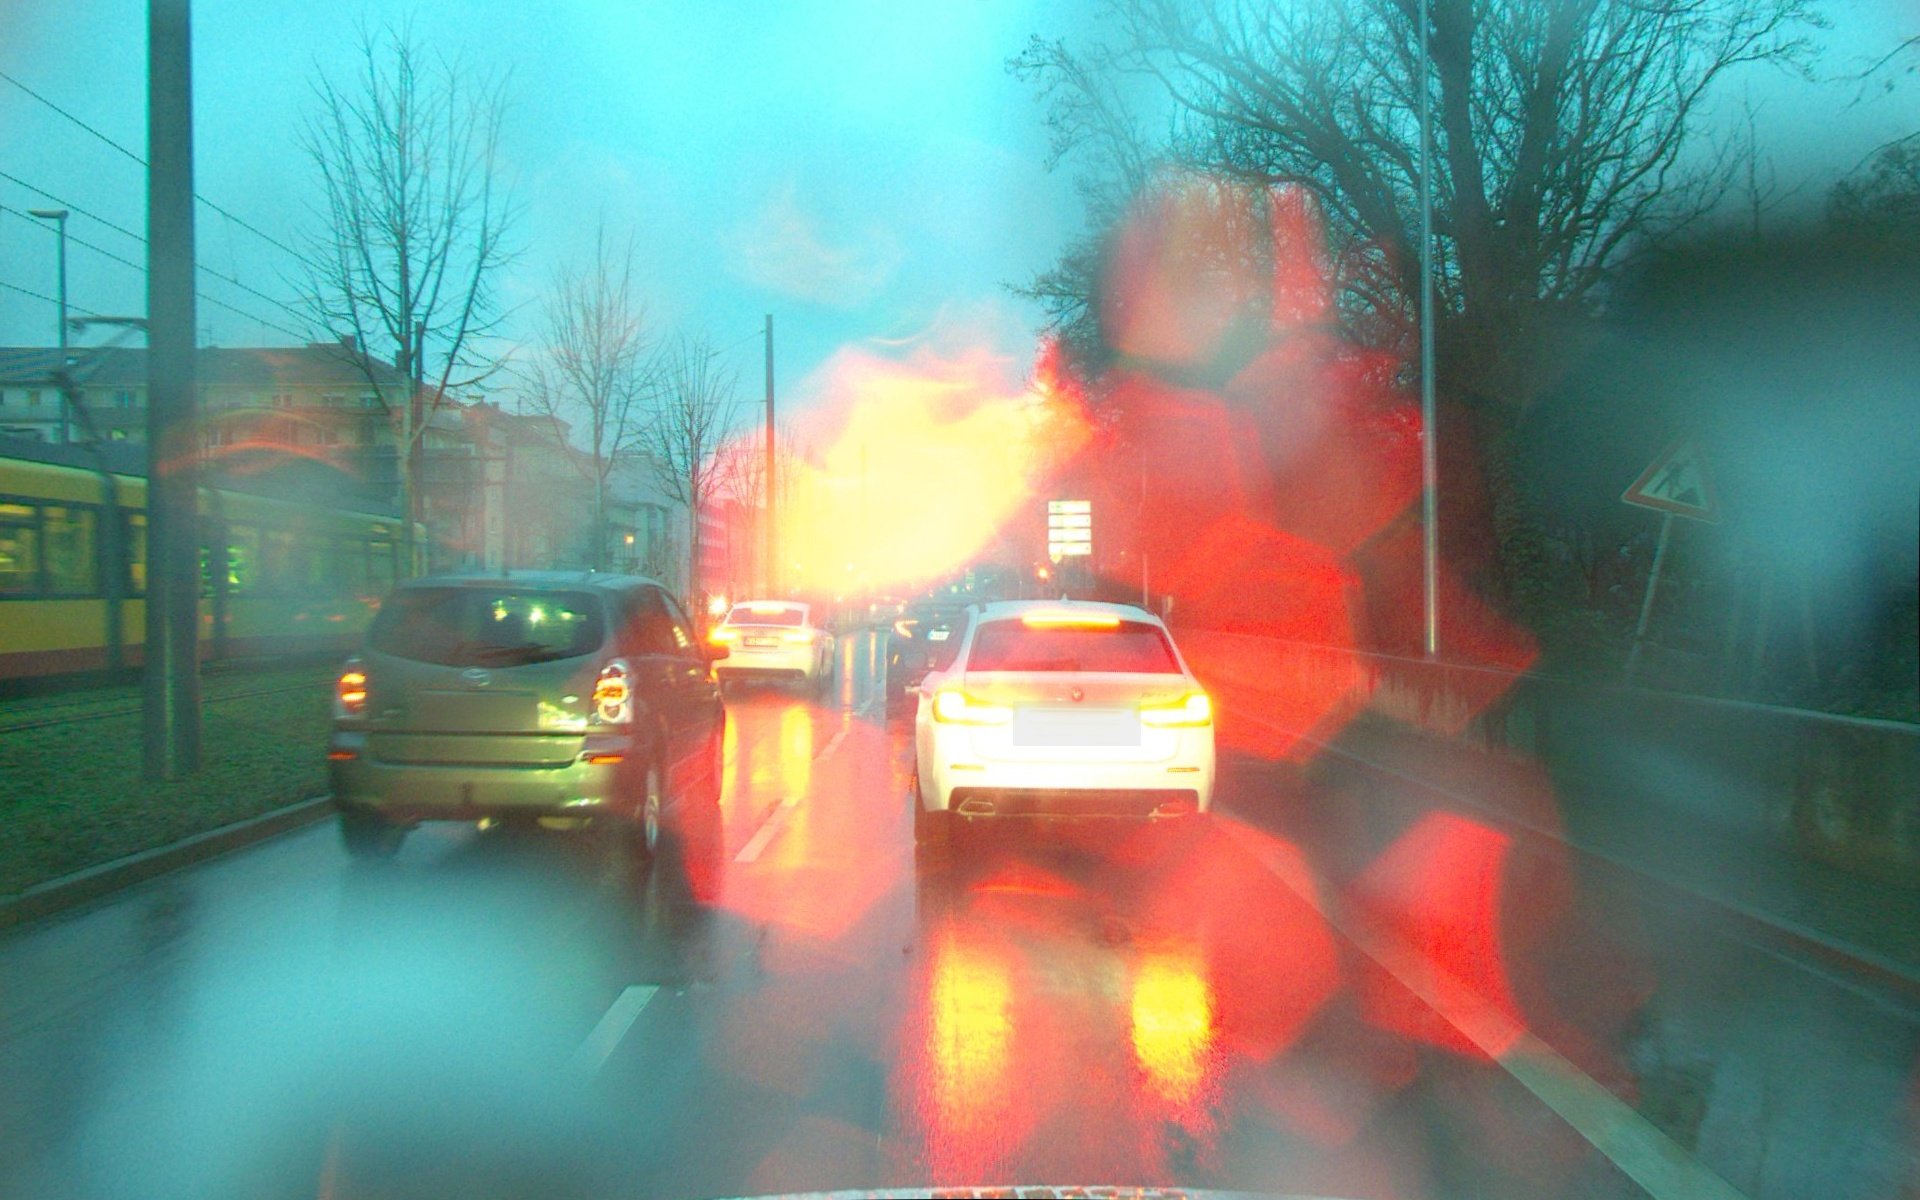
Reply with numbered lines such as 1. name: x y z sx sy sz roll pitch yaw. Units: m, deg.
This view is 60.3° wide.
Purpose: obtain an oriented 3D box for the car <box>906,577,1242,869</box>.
1. car: 0.561 0.682 11.182 1.725 1.580 4.248 1 0 -3

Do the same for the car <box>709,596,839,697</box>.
1. car: -2.953 0.708 27.005 1.724 1.495 4.250 1 0 -2

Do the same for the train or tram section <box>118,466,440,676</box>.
1. train or tram section: -13.261 -0.494 33.299 2.784 3.566 9.156 -1 0 -1

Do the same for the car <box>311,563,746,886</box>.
1. car: -2.457 0.640 10.428 1.724 1.622 3.999 1 0 -1

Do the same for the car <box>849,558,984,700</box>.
1. car: -0.665 0.435 26.278 1.953 2.049 3.999 1 0 -1

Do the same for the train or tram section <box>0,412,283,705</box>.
1. train or tram section: -13.106 -0.465 24.126 2.784 3.566 9.156 -1 0 -1

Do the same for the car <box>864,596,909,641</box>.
1. car: -3.391 0.842 76.770 1.953 2.049 3.999 1 0 -1
